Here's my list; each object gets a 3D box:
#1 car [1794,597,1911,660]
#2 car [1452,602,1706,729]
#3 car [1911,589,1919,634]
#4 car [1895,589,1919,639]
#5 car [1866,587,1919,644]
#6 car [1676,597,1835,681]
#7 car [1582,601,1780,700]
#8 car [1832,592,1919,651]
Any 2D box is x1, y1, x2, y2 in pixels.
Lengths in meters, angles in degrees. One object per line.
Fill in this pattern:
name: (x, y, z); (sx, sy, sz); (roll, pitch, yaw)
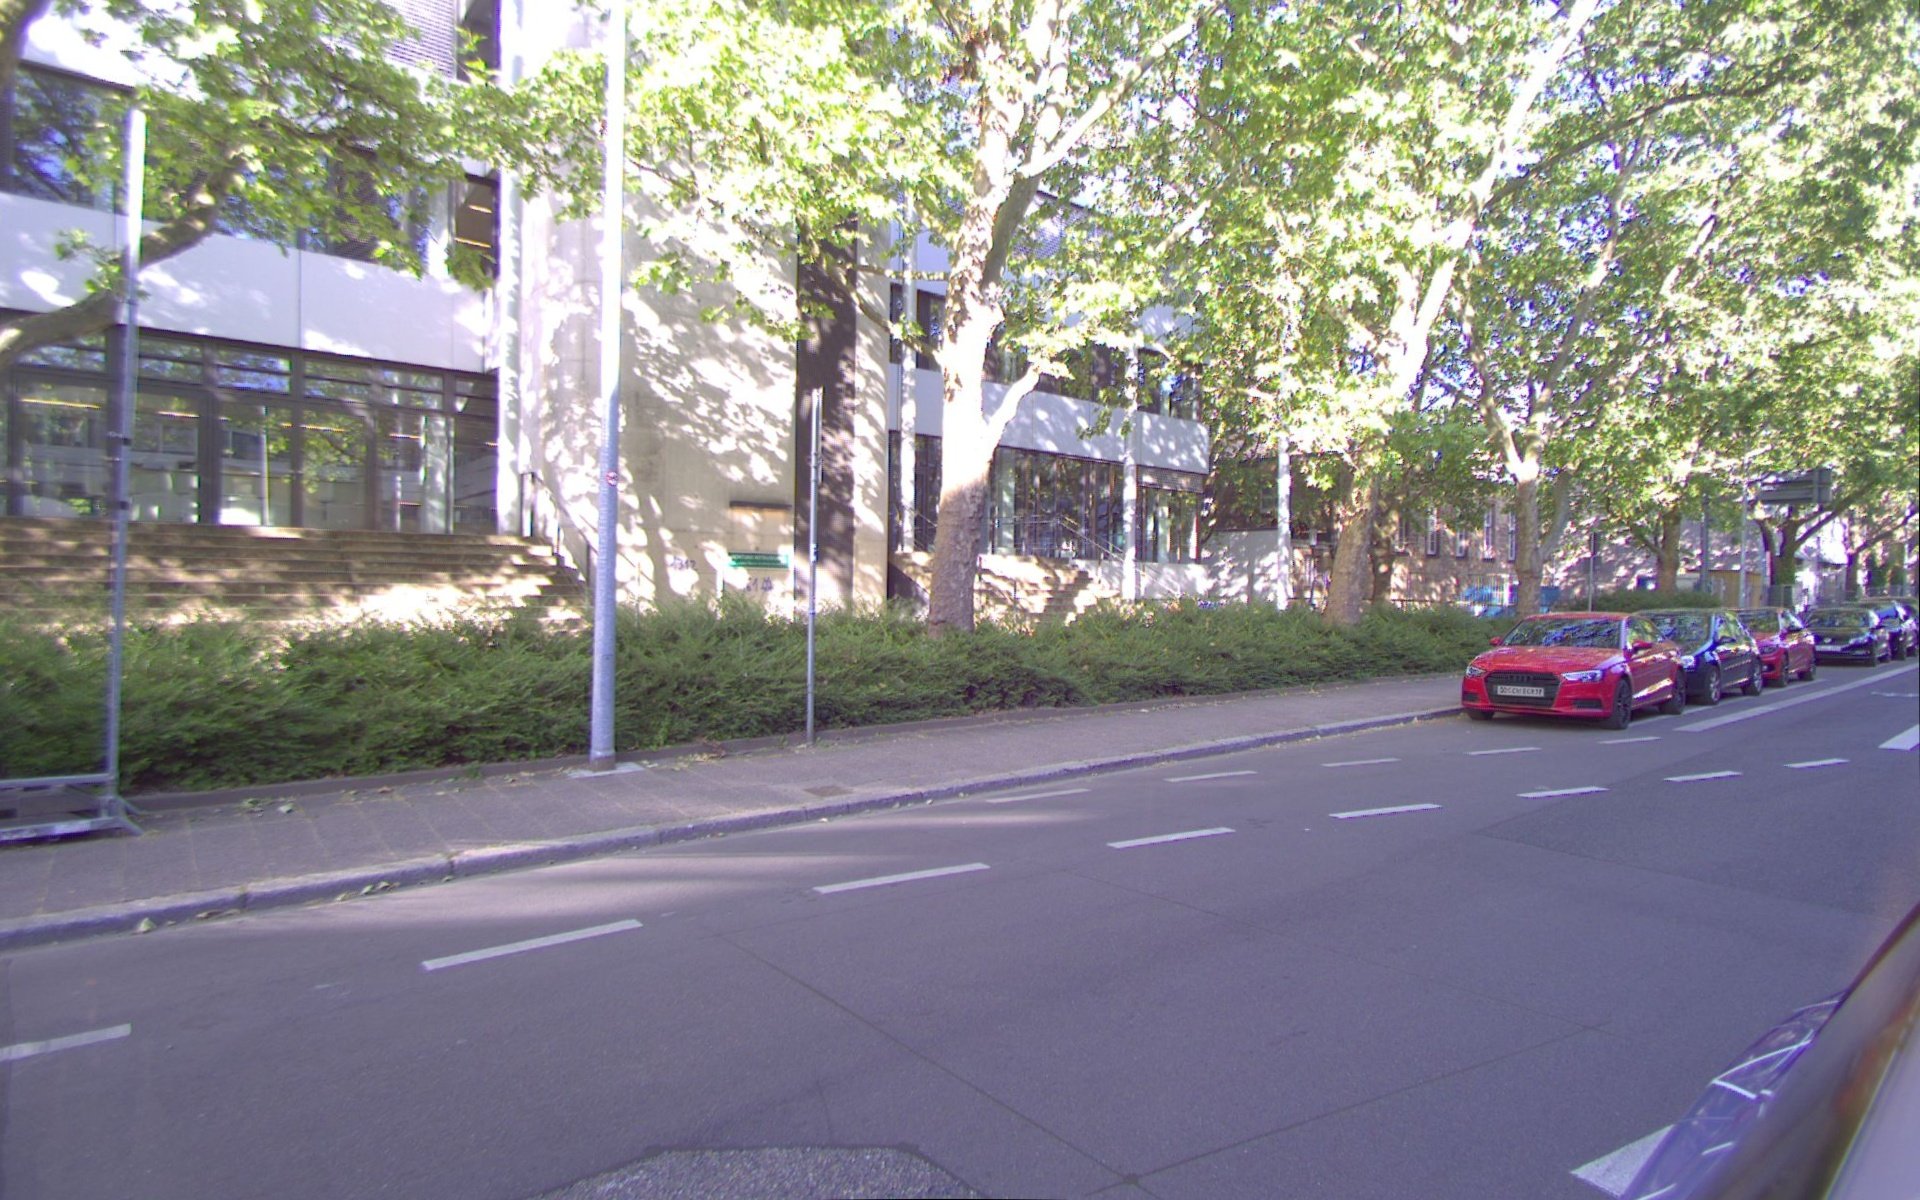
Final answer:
car: (23.058, 0.677, 26.099); (4.092, 1.478, 1.788); (0, -1, -42)
car: (8.367, 0.752, 13.546); (4.092, 1.431, 1.815); (0, -1, -42)
car: (39.635, 0.435, 40.399); (4.475, 1.777, 2.040); (0, -1, -42)
car: (35.917, 0.480, 37.249); (4.475, 1.777, 1.788); (0, -1, -42)
car: (31.064, 0.485, 33.013); (4.271, 1.777, 1.788); (0, -1, -42)
car: (15.866, 0.699, 20.106); (4.092, 1.502, 1.815); (0, -1, -42)
car: (11.961, 0.737, 16.685); (4.092, 1.431, 1.815); (0, -1, -42)
car: (26.604, 0.586, 29.131); (4.092, 1.573, 1.788); (0, -1, -42)
